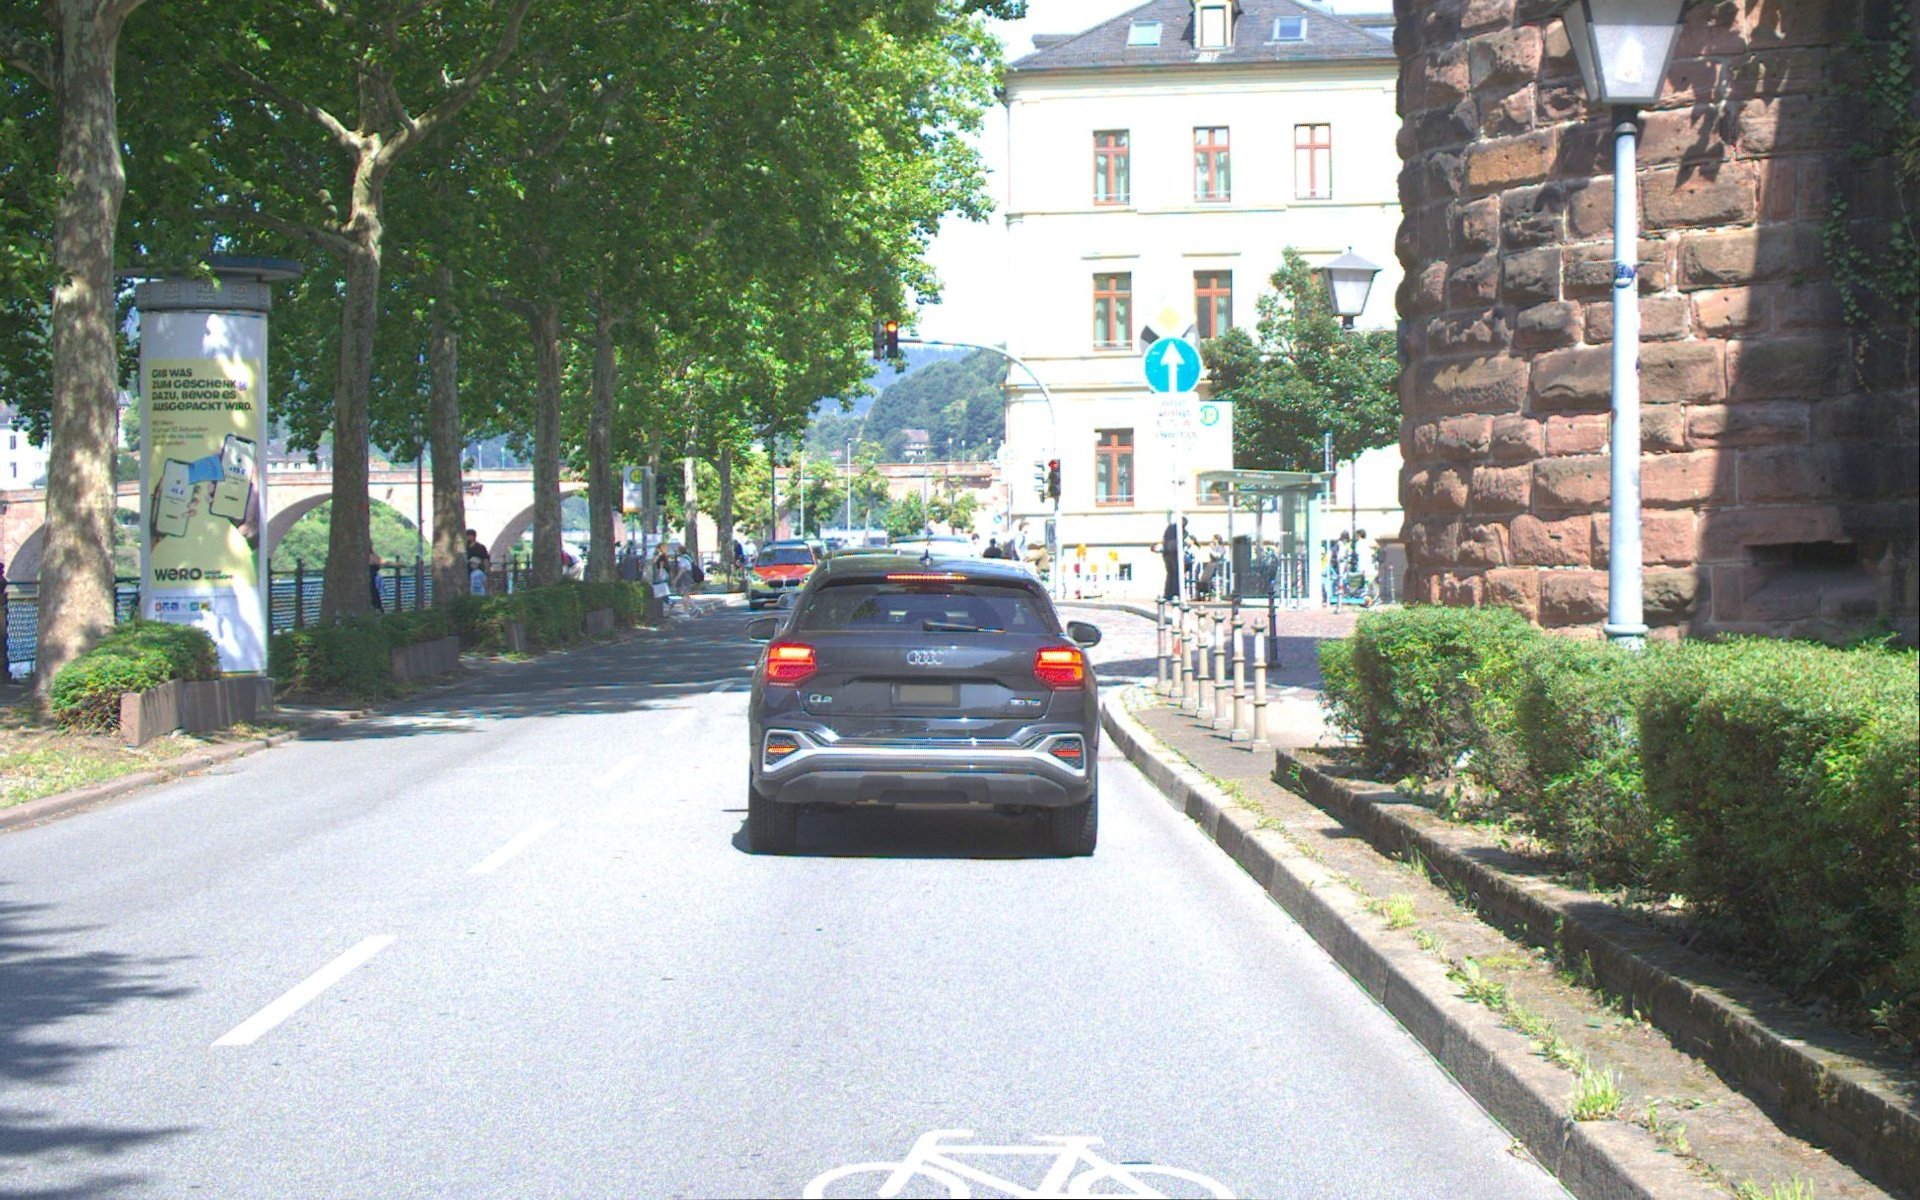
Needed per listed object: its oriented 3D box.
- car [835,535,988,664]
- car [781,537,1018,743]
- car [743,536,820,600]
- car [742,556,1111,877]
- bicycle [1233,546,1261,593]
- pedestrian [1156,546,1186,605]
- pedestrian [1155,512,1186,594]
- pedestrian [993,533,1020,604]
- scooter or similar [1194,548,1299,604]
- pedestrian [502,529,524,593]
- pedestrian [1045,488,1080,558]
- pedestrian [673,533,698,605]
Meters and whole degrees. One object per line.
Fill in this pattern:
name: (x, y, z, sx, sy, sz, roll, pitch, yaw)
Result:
car: (-0.574, -0.040, 42.618, 1.801, 1.518, 3.716, 0, 1, 0)
car: (-0.472, 0.276, 28.523, 1.801, 1.557, 3.716, -1, 1, 0)
car: (-4.398, -0.800, 85.173, 1.615, 1.518, 3.476, -1, 1, 1)
car: (-0.208, 0.543, 18.460, 1.748, 1.489, 3.629, 1, 1, -1)
bicycle: (6.081, -0.657, 72.922, 0.450, 0.971, 1.400, 2, 1, 0)
pedestrian: (4.356, -0.500, 71.012, 0.546, 1.197, 0.522, 2, 1, 1)
pedestrian: (4.275, -0.952, 69.761, 0.557, 1.627, 0.660, 1, 1, 1)
pedestrian: (1.026, -0.698, 76.343, 0.557, 1.552, 0.660, 1, 1, 1)
scooter or similar: (5.190, -0.435, 62.311, 1.845, 0.960, 0.429, 2, 1, -1)
pedestrian: (-10.741, -0.945, 82.635, 0.497, 1.532, 0.680, -1, 1, -7)
pedestrian: (2.310, -1.739, 77.636, 0.747, 1.552, 0.588, 1, 1, 1)
pedestrian: (-6.300, -0.704, 78.828, 0.517, 1.632, 0.439, -1, 1, -7)
